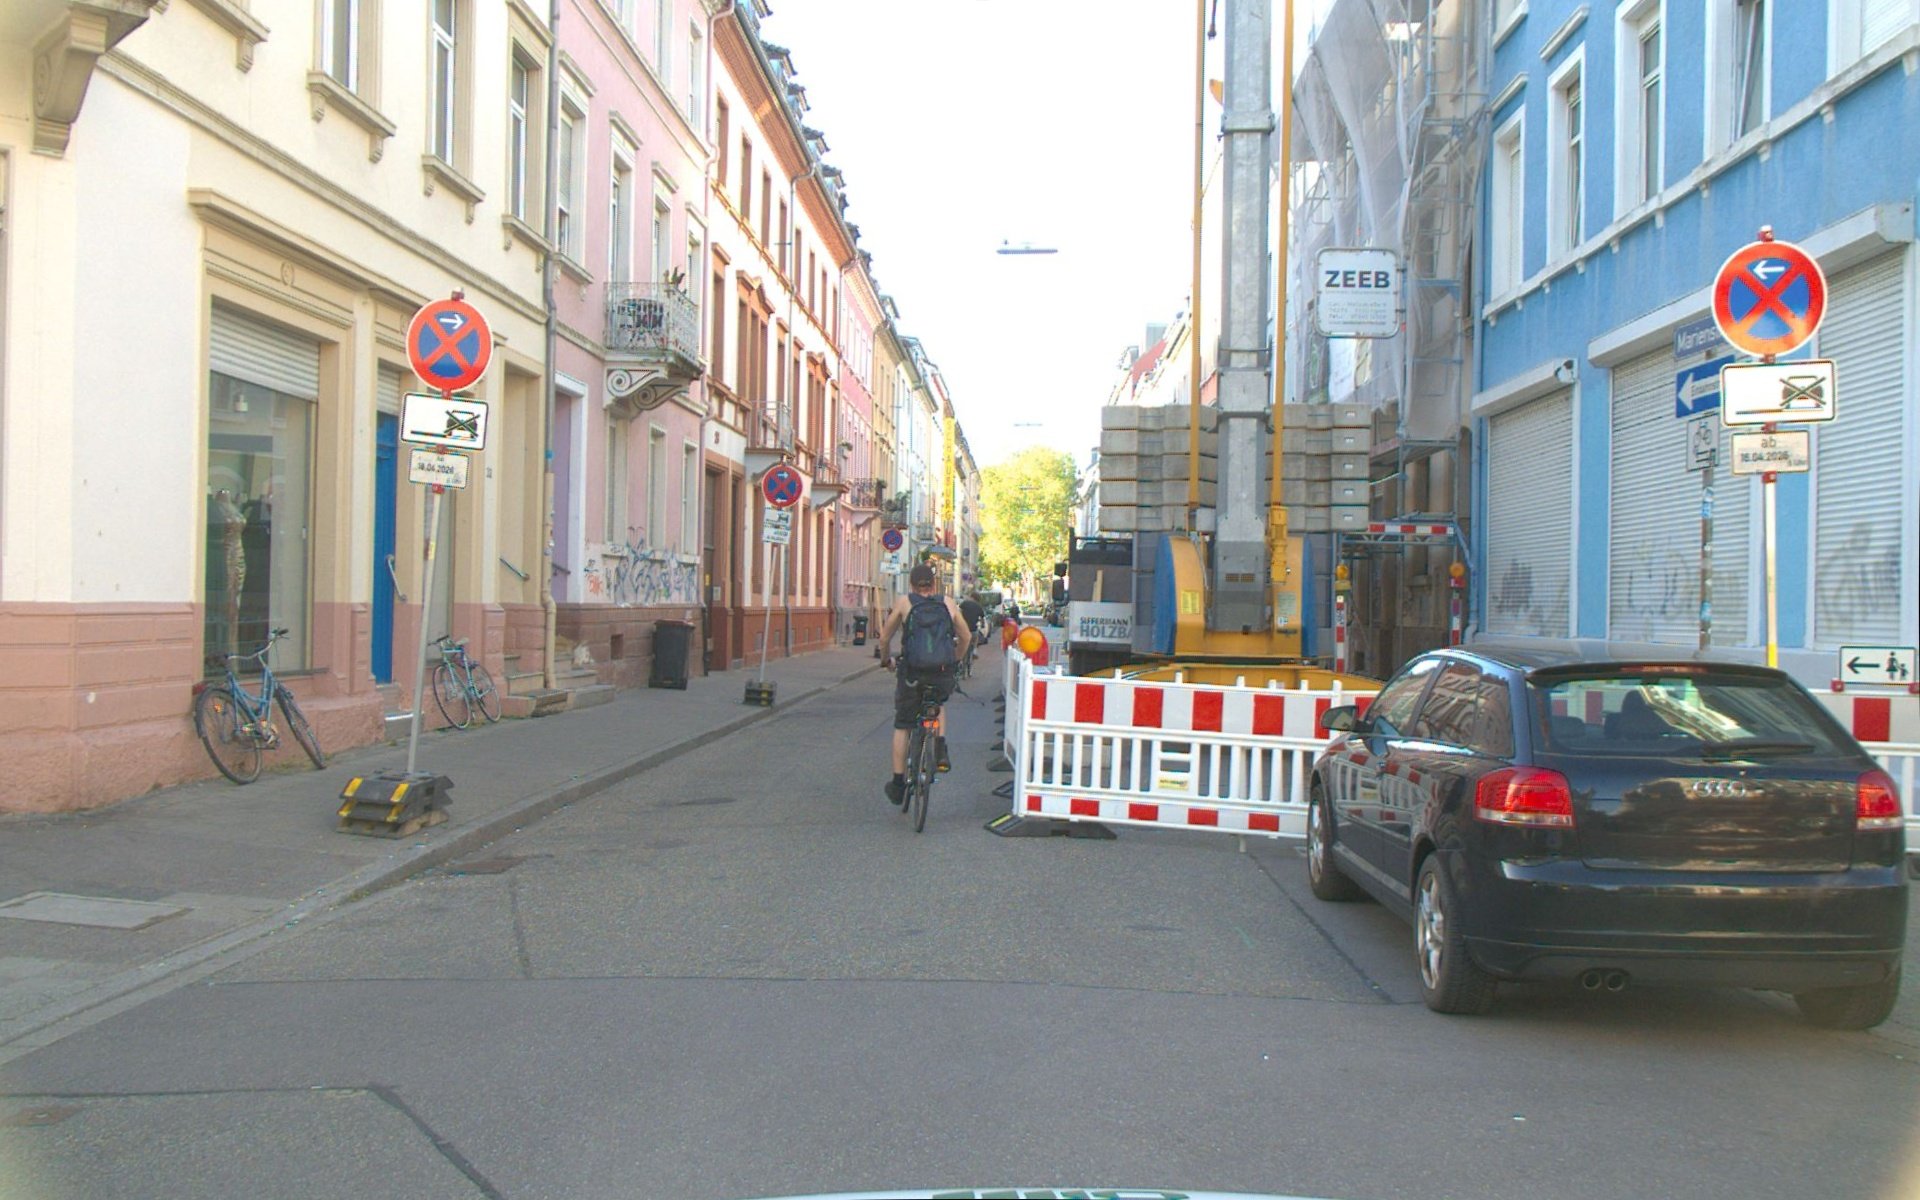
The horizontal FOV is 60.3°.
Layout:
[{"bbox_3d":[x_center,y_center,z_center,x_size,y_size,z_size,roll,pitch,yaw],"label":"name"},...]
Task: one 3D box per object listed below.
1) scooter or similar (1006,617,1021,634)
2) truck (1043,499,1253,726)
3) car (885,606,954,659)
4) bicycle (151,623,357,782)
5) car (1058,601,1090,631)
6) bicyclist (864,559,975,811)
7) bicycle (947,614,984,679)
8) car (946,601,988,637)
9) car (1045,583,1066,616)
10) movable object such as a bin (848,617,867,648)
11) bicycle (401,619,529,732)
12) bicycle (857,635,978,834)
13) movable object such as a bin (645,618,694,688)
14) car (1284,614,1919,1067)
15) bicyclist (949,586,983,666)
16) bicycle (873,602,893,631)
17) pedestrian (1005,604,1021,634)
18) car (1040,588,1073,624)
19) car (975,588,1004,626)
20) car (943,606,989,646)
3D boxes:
[{"bbox_3d":[2.912,1.401,90.462,0.755,0.888,0.770,2,-1,-1],"label":"scooter or similar"},{"bbox_3d":[2.652,0.191,25.365,2.606,2.863,7.395,2,0,3],"label":"truck"},{"bbox_3d":[-1.100,0.889,47.131,1.675,1.407,4.506,-1,-1,2],"label":"car"},{"bbox_3d":[-5.181,0.719,12.274,0.591,1.040,1.818,5,-1,3],"label":"bicycle"},{"bbox_3d":[6.207,0.879,90.558,1.587,1.577,4.001,-1,-1,2],"label":"car"},{"bbox_3d":[-0.264,0.568,11.495,0.687,1.662,1.090,0,-1,2],"label":"bicyclist"},{"bbox_3d":[0.133,0.930,34.008,0.687,1.229,2.343,0,1,2],"label":"bicycle"},{"bbox_3d":[0.330,0.814,70.350,1.637,1.467,3.769,-1,-1,2],"label":"car"},{"bbox_3d":[11.242,-0.030,195.797,2.260,3.834,6.771,-1,-1,2],"label":"car"},{"bbox_3d":[-3.281,1.040,52.937,0.532,0.961,0.487,2,-1,3],"label":"movable object such as a bin"},{"bbox_3d":[-5.015,0.743,16.876,0.609,1.040,1.819,4,0,3],"label":"bicycle"},{"bbox_3d":[-0.260,0.874,11.636,0.687,1.229,2.343,0,-1,2],"label":"bicycle"},{"bbox_3d":[-4.477,0.810,25.525,0.593,1.053,0.596,2,-1,1],"label":"movable object such as a bin"},{"bbox_3d":[2.722,0.835,7.633,1.735,1.459,4.034,2,0,2],"label":"car"},{"bbox_3d":[0.124,0.527,34.016,0.687,1.633,0.813,0,1,2],"label":"bicyclist"},{"bbox_3d":[-3.086,0.668,66.361,0.580,1.108,2.079,2,0,3],"label":"bicycle"},{"bbox_3d":[2.907,1.051,90.891,0.755,1.606,0.900,2,-1,-1],"label":"pedestrian"},{"bbox_3d":[7.107,0.477,122.699,2.260,2.582,6.771,-1,-1,2],"label":"car"},{"bbox_3d":[1.988,0.463,111.740,1.870,2.540,4.165,0,0,0],"label":"car"},{"bbox_3d":[0.265,0.991,64.580,1.637,1.467,4.166,-1,-1,2],"label":"car"}]
